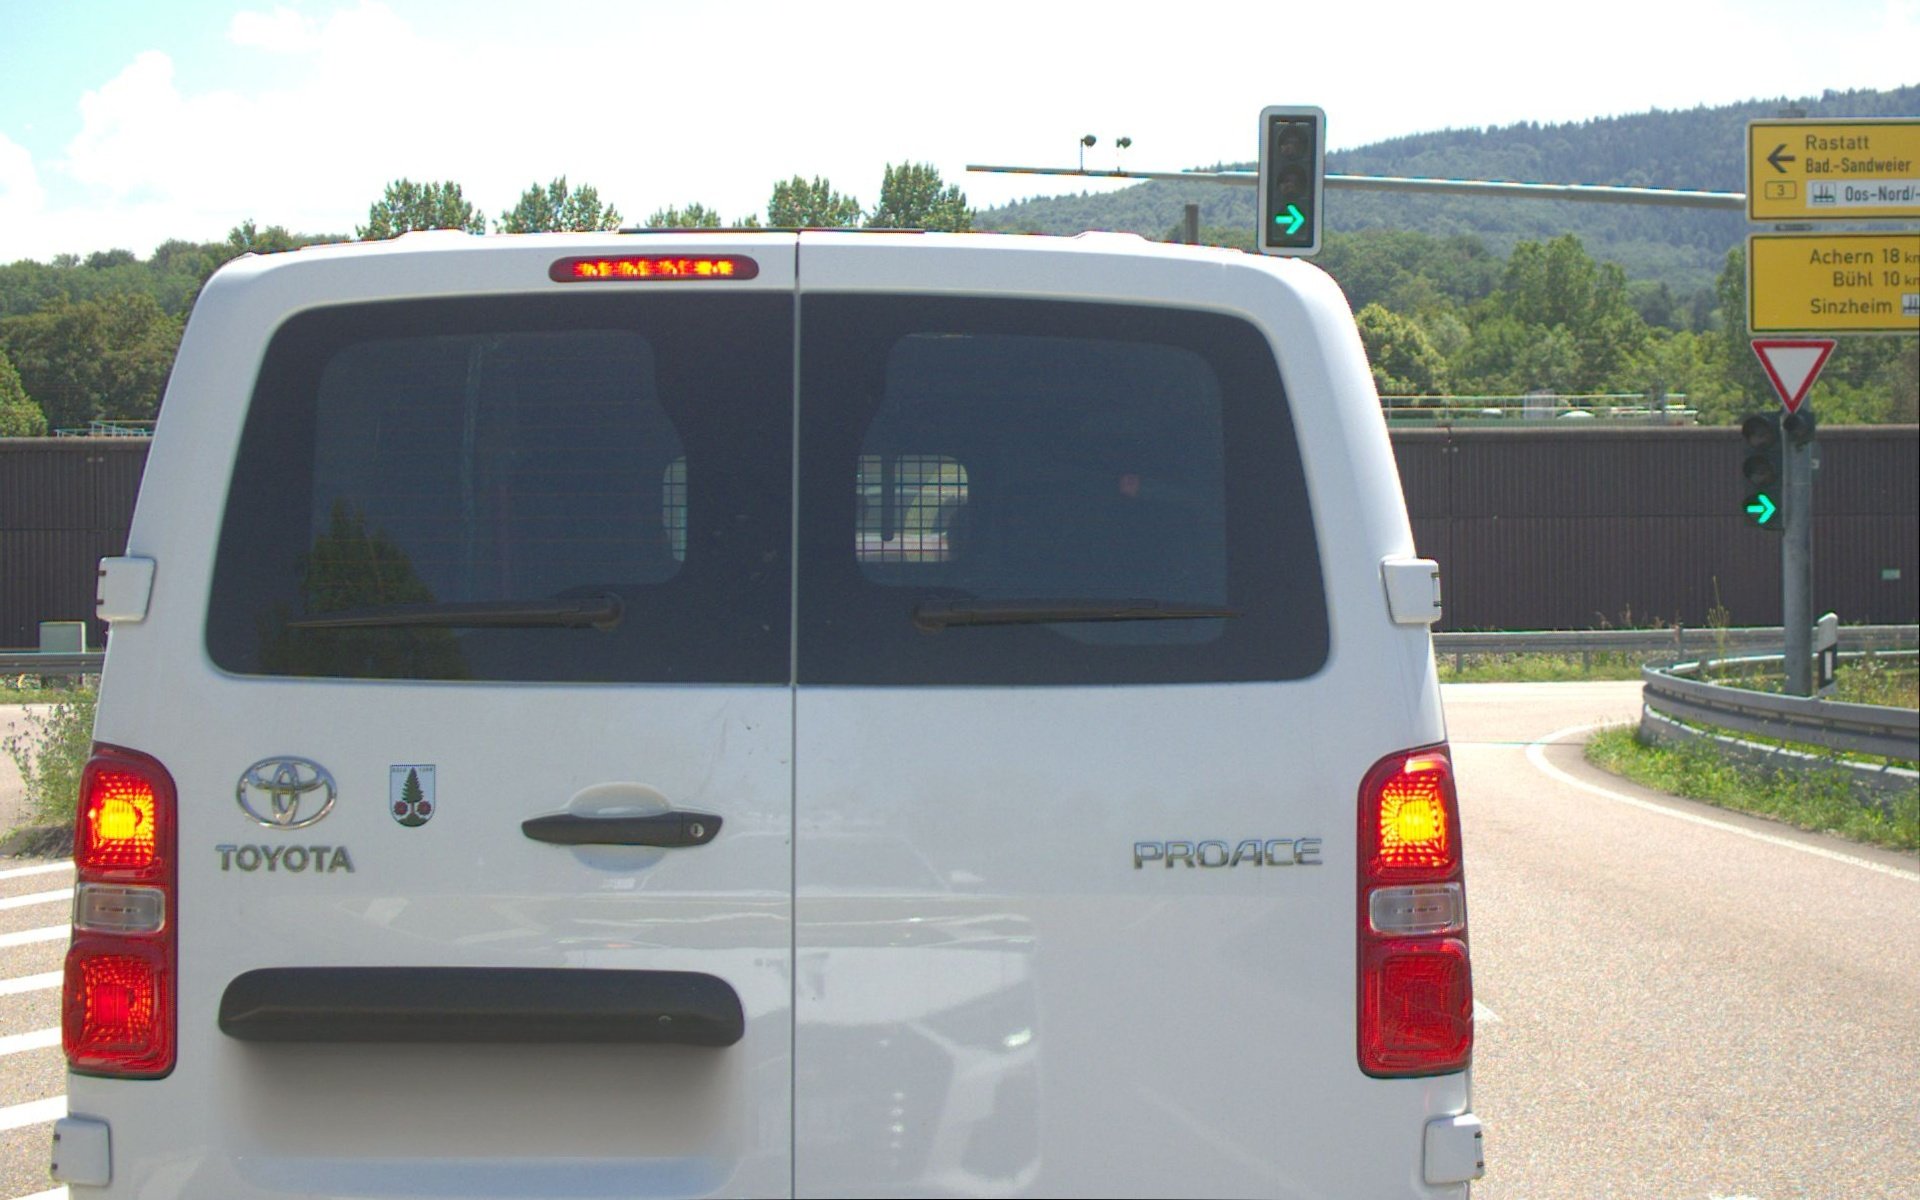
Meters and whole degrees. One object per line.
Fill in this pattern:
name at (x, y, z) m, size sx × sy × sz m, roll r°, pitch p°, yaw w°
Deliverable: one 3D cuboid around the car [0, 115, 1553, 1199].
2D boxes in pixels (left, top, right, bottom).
car at (-0.258, 0.436, 5.926) m, size 1.814 × 2.011 × 4.000 m, roll 0°, pitch 1°, yaw -1°
